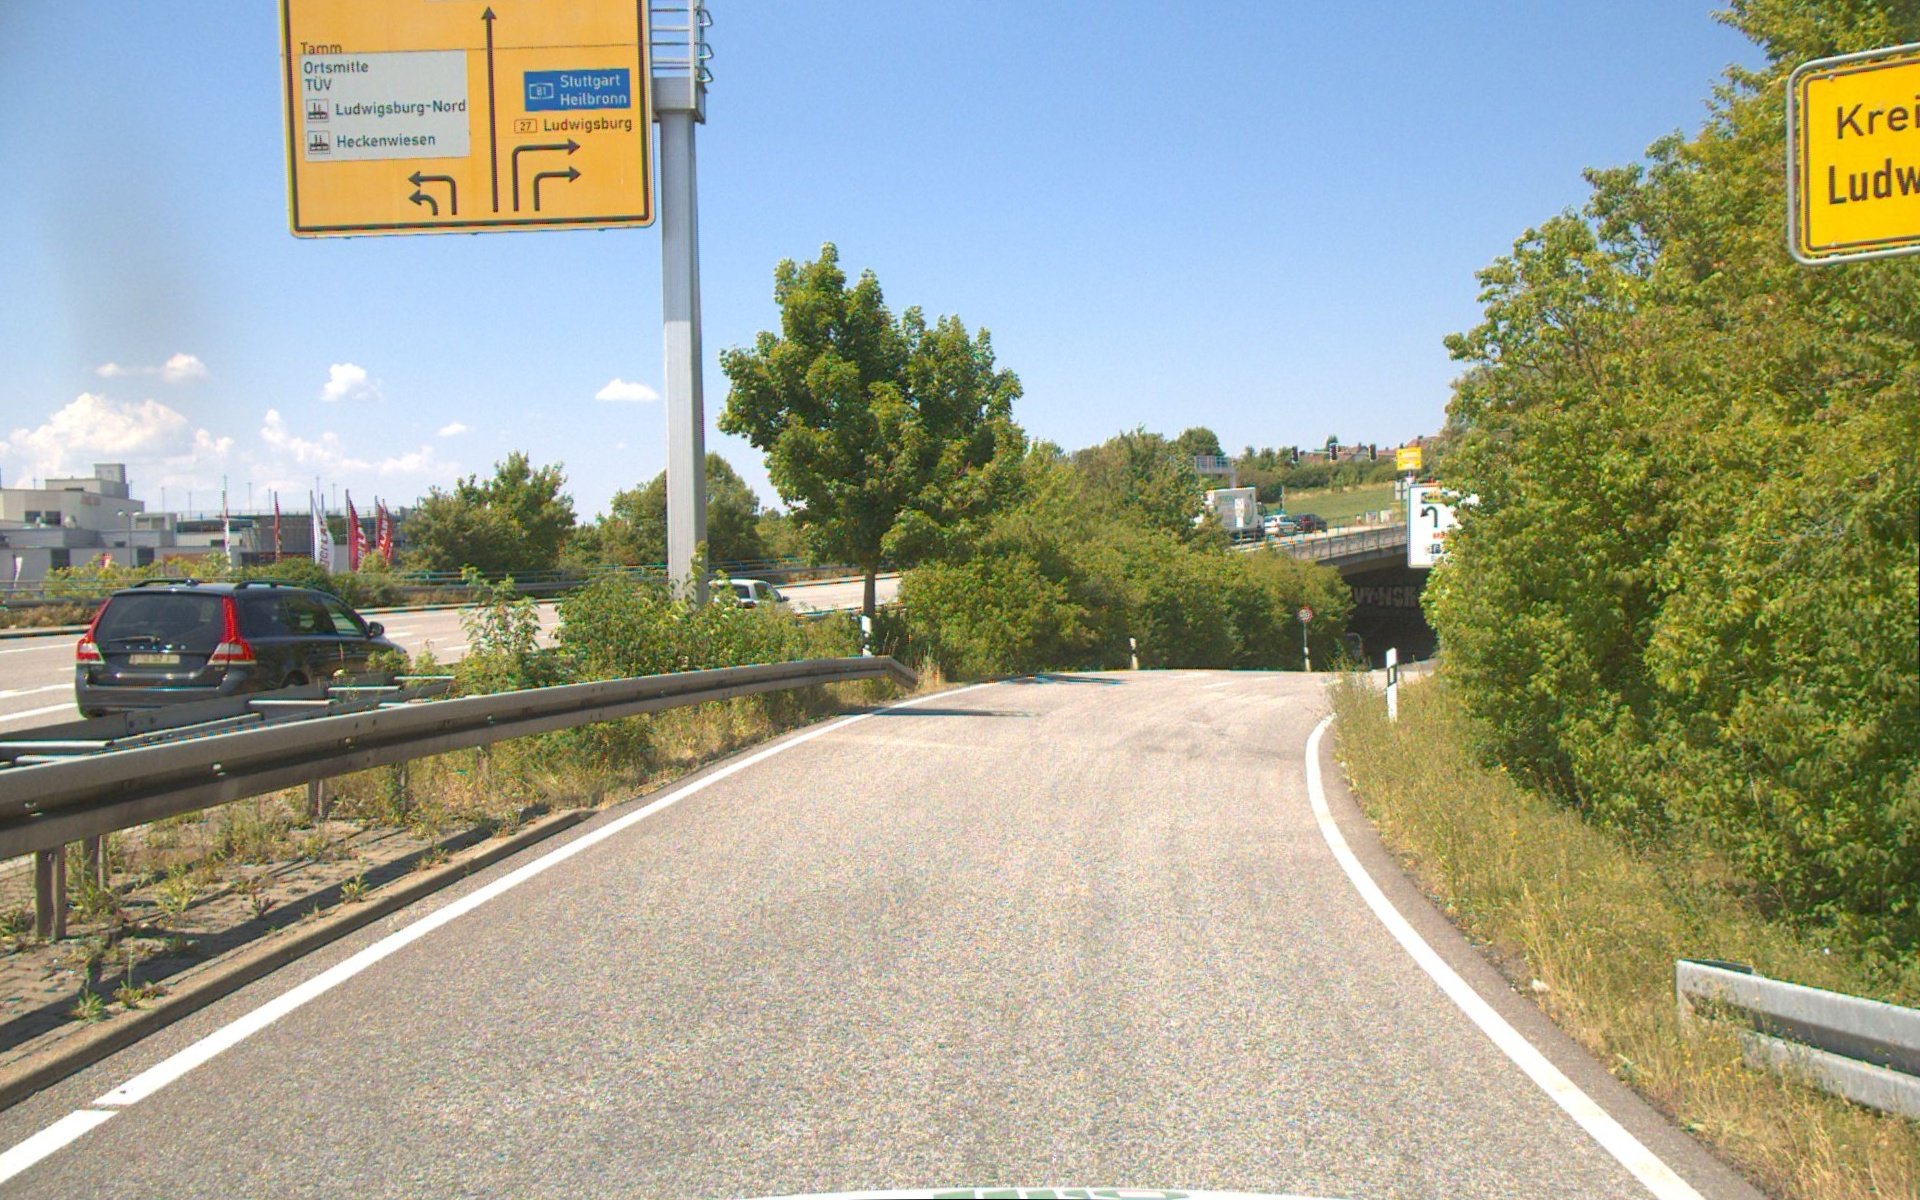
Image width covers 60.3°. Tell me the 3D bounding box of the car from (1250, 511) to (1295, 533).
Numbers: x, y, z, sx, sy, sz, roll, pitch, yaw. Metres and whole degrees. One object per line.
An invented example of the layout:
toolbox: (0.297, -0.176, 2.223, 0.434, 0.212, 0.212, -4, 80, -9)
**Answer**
car: (22.305, -5.528, 118.018, 1.863, 1.387, 3.990, 0, 0, 32)

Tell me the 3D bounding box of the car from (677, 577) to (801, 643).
car: (-5.393, 0.234, 40.862, 1.951, 1.512, 4.139, -1, 0, 8)

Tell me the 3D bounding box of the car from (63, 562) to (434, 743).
car: (-7.081, 0.461, 17.074, 1.695, 1.572, 4.734, -1, 0, 1)

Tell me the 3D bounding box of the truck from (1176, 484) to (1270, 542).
truck: (17.922, -5.866, 112.283, 2.972, 3.652, 8.883, -3, 1, 32)

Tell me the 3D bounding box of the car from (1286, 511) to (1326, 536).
car: (26.023, -5.748, 124.321, 1.954, 1.646, 3.996, 0, 0, 26)
